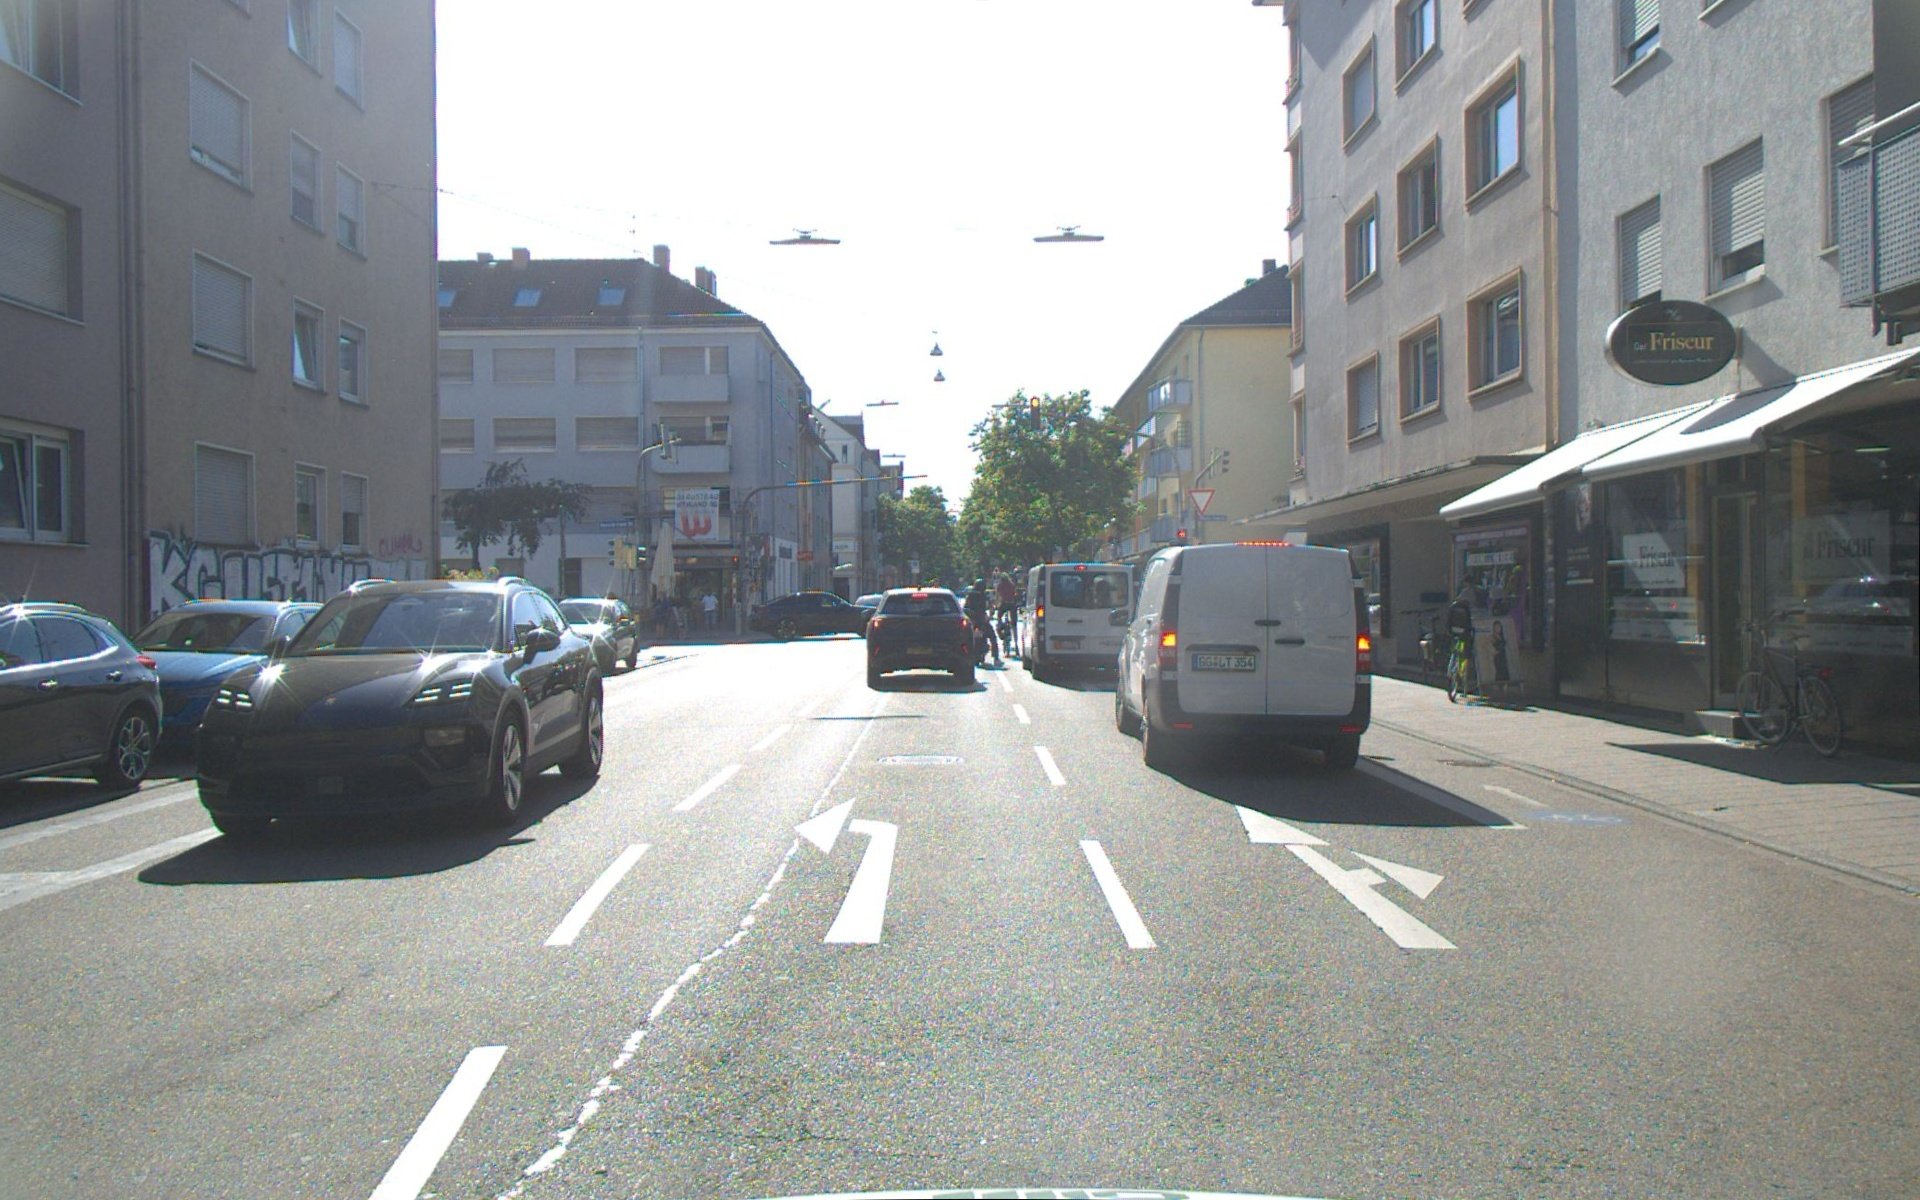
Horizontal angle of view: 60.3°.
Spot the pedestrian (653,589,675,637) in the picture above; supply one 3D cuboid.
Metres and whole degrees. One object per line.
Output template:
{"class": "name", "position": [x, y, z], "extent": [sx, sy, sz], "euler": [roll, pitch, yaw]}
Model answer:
{"class": "pedestrian", "position": [-10.579, 0.457, 59.054], "extent": [0.670, 1.692, 0.601], "euler": [-1, 0, -2]}

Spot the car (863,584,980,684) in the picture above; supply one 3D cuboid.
{"class": "car", "position": [-0.660, 0.519, 27.841], "extent": [1.807, 1.534, 3.999], "euler": [-1, 0, -2]}

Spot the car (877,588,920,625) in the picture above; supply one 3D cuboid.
{"class": "car", "position": [-2.458, 0.236, 66.763], "extent": [1.585, 1.422, 3.731], "euler": [-1, 0, 0]}

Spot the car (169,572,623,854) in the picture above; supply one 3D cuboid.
{"class": "car", "position": [-3.823, 0.664, 12.110], "extent": [1.829, 1.642, 4.427], "euler": [-1, 0, -1]}

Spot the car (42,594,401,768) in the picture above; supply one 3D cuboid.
{"class": "car", "position": [-7.532, 0.730, 17.428], "extent": [1.686, 1.523, 4.625], "euler": [2, 0, -1]}

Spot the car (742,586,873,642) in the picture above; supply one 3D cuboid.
{"class": "car", "position": [-4.841, 0.426, 52.328], "extent": [3.917, 1.668, 1.994], "euler": [-1, 0, -12]}

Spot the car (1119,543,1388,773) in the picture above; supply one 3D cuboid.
{"class": "car", "position": [2.594, 0.460, 15.699], "extent": [1.943, 1.854, 4.548], "euler": [0, 0, 3]}

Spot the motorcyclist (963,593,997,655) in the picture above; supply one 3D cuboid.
{"class": "motorcyclist", "position": [0.399, 0.484, 33.650], "extent": [0.645, 1.248, 0.694], "euler": [-1, 0, -2]}

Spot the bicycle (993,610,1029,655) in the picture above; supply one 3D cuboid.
{"class": "bicycle", "position": [1.195, 0.759, 39.082], "extent": [0.759, 1.009, 1.717], "euler": [-1, 0, -2]}

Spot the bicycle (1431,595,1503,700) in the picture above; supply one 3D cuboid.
{"class": "bicycle", "position": [6.601, 0.604, 21.572], "extent": [0.465, 1.296, 1.218], "euler": [-4, 0, -1]}

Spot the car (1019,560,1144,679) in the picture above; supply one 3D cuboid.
{"class": "car", "position": [2.108, 0.315, 29.936], "extent": [1.779, 1.955, 4.643], "euler": [-1, 0, -2]}

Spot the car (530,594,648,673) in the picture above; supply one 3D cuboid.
{"class": "car", "position": [-7.595, 0.651, 34.159], "extent": [1.620, 1.505, 3.999], "euler": [1, 0, -2]}

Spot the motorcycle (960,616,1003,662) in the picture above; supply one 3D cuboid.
{"class": "motorcycle", "position": [0.421, 0.788, 33.787], "extent": [0.791, 0.878, 1.822], "euler": [-1, 0, -2]}

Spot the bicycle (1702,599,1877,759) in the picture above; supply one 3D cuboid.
{"class": "bicycle", "position": [7.163, 0.641, 14.382], "extent": [0.537, 1.291, 1.883], "euler": [-1, 0, -1]}

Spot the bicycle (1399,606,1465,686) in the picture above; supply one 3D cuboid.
{"class": "bicycle", "position": [7.071, 0.675, 24.824], "extent": [0.513, 1.138, 1.534], "euler": [-1, 0, -1]}

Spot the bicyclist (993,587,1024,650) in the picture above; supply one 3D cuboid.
{"class": "bicyclist", "position": [1.146, 0.424, 39.085], "extent": [0.670, 1.474, 0.940], "euler": [-1, 0, -2]}

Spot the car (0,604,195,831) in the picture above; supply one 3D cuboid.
{"class": "car", "position": [-7.712, 0.830, 12.294], "extent": [1.952, 1.523, 4.229], "euler": [2, 0, 1]}

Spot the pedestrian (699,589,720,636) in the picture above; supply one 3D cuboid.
{"class": "pedestrian", "position": [-9.073, 0.438, 59.984], "extent": [0.670, 1.692, 0.601], "euler": [-1, 0, -2]}
